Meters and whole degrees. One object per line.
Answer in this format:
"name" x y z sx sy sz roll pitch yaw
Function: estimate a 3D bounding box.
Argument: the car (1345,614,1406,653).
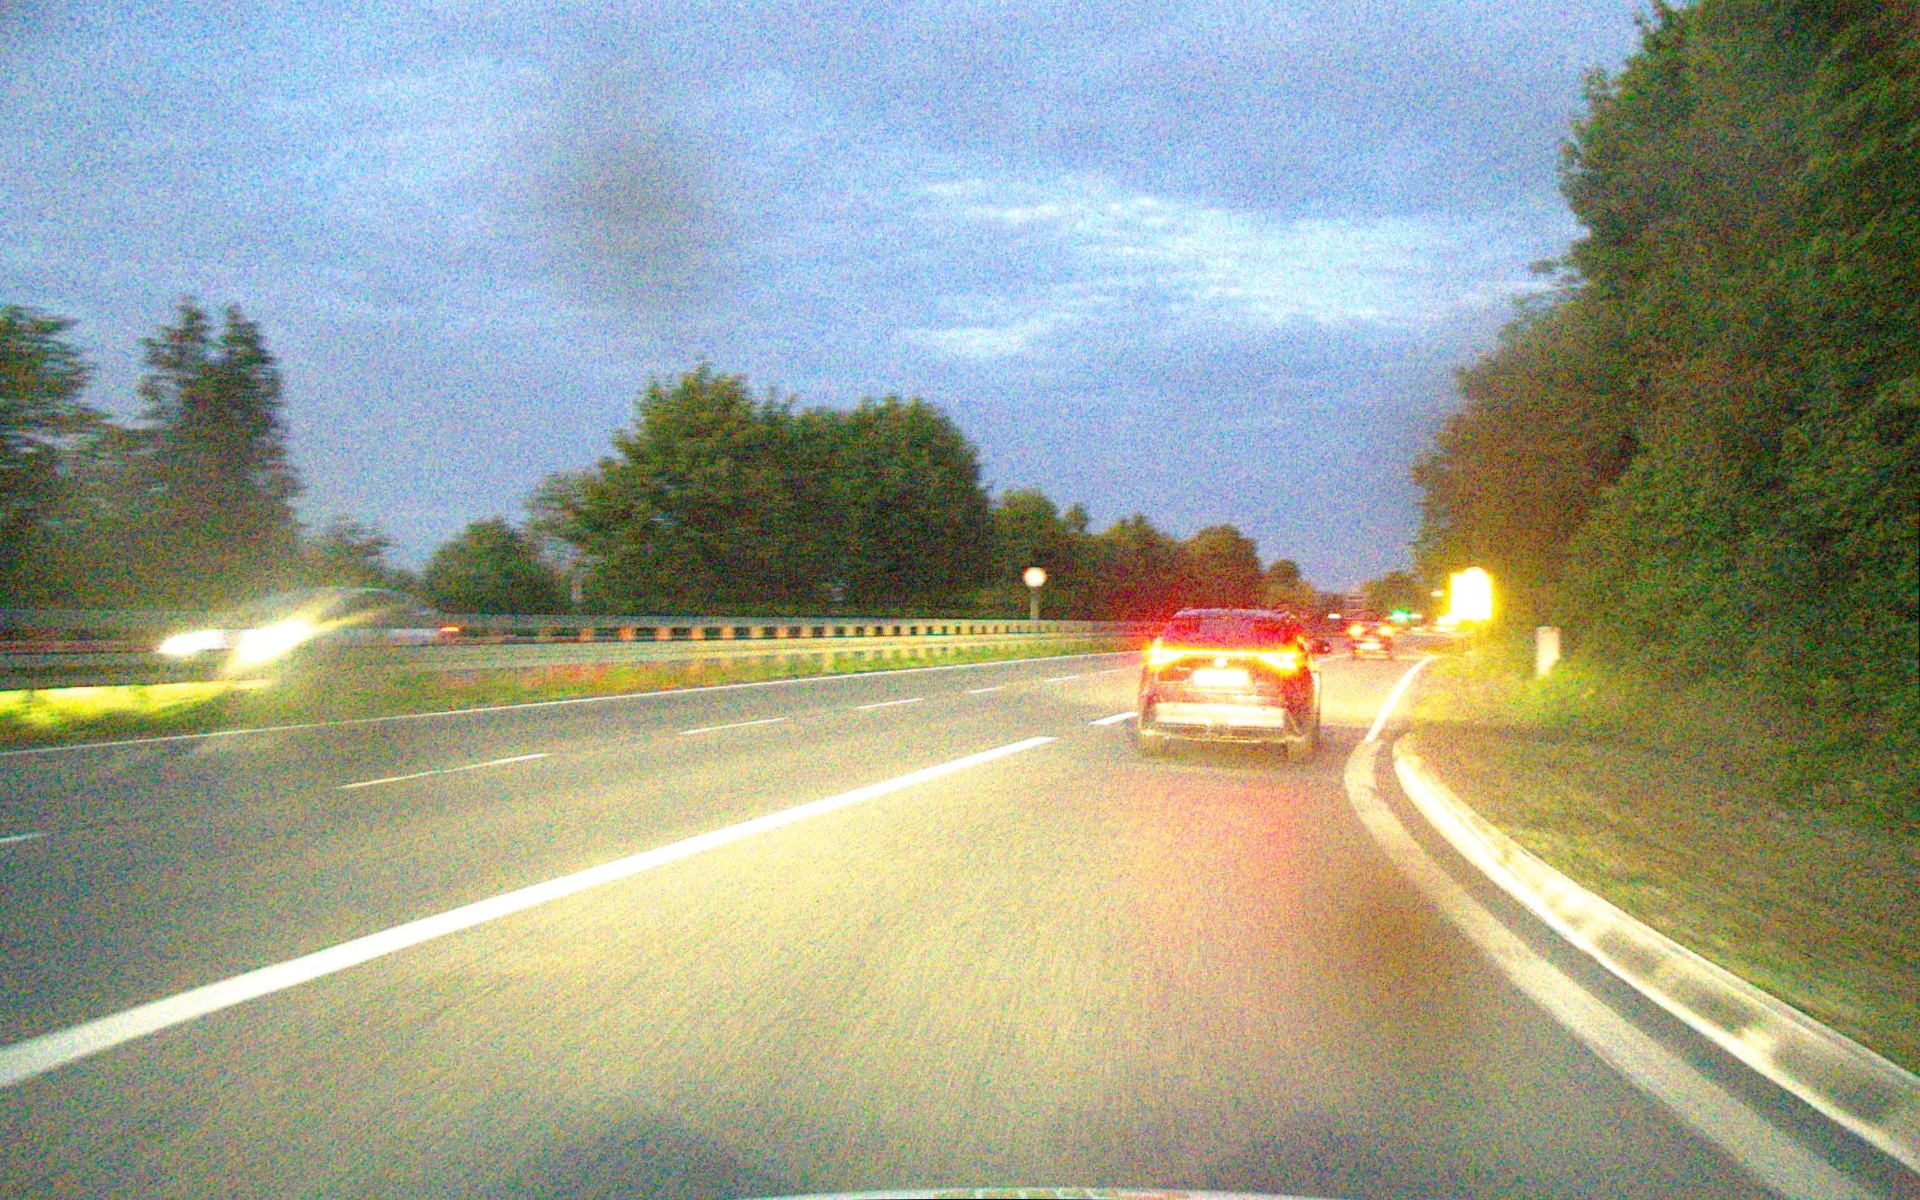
"car" 16.681 1.337 66.279 1.717 1.478 4.431 1 -1 23

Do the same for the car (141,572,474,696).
"car" -9.244 0.474 23.950 1.951 1.597 4.825 -1 -1 16

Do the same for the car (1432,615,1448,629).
"car" 68.369 3.146 235.593 1.952 1.781 4.001 -3 -3 19

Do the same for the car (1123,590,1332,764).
"car" 3.157 0.778 18.743 1.861 1.648 4.559 2 0 15
